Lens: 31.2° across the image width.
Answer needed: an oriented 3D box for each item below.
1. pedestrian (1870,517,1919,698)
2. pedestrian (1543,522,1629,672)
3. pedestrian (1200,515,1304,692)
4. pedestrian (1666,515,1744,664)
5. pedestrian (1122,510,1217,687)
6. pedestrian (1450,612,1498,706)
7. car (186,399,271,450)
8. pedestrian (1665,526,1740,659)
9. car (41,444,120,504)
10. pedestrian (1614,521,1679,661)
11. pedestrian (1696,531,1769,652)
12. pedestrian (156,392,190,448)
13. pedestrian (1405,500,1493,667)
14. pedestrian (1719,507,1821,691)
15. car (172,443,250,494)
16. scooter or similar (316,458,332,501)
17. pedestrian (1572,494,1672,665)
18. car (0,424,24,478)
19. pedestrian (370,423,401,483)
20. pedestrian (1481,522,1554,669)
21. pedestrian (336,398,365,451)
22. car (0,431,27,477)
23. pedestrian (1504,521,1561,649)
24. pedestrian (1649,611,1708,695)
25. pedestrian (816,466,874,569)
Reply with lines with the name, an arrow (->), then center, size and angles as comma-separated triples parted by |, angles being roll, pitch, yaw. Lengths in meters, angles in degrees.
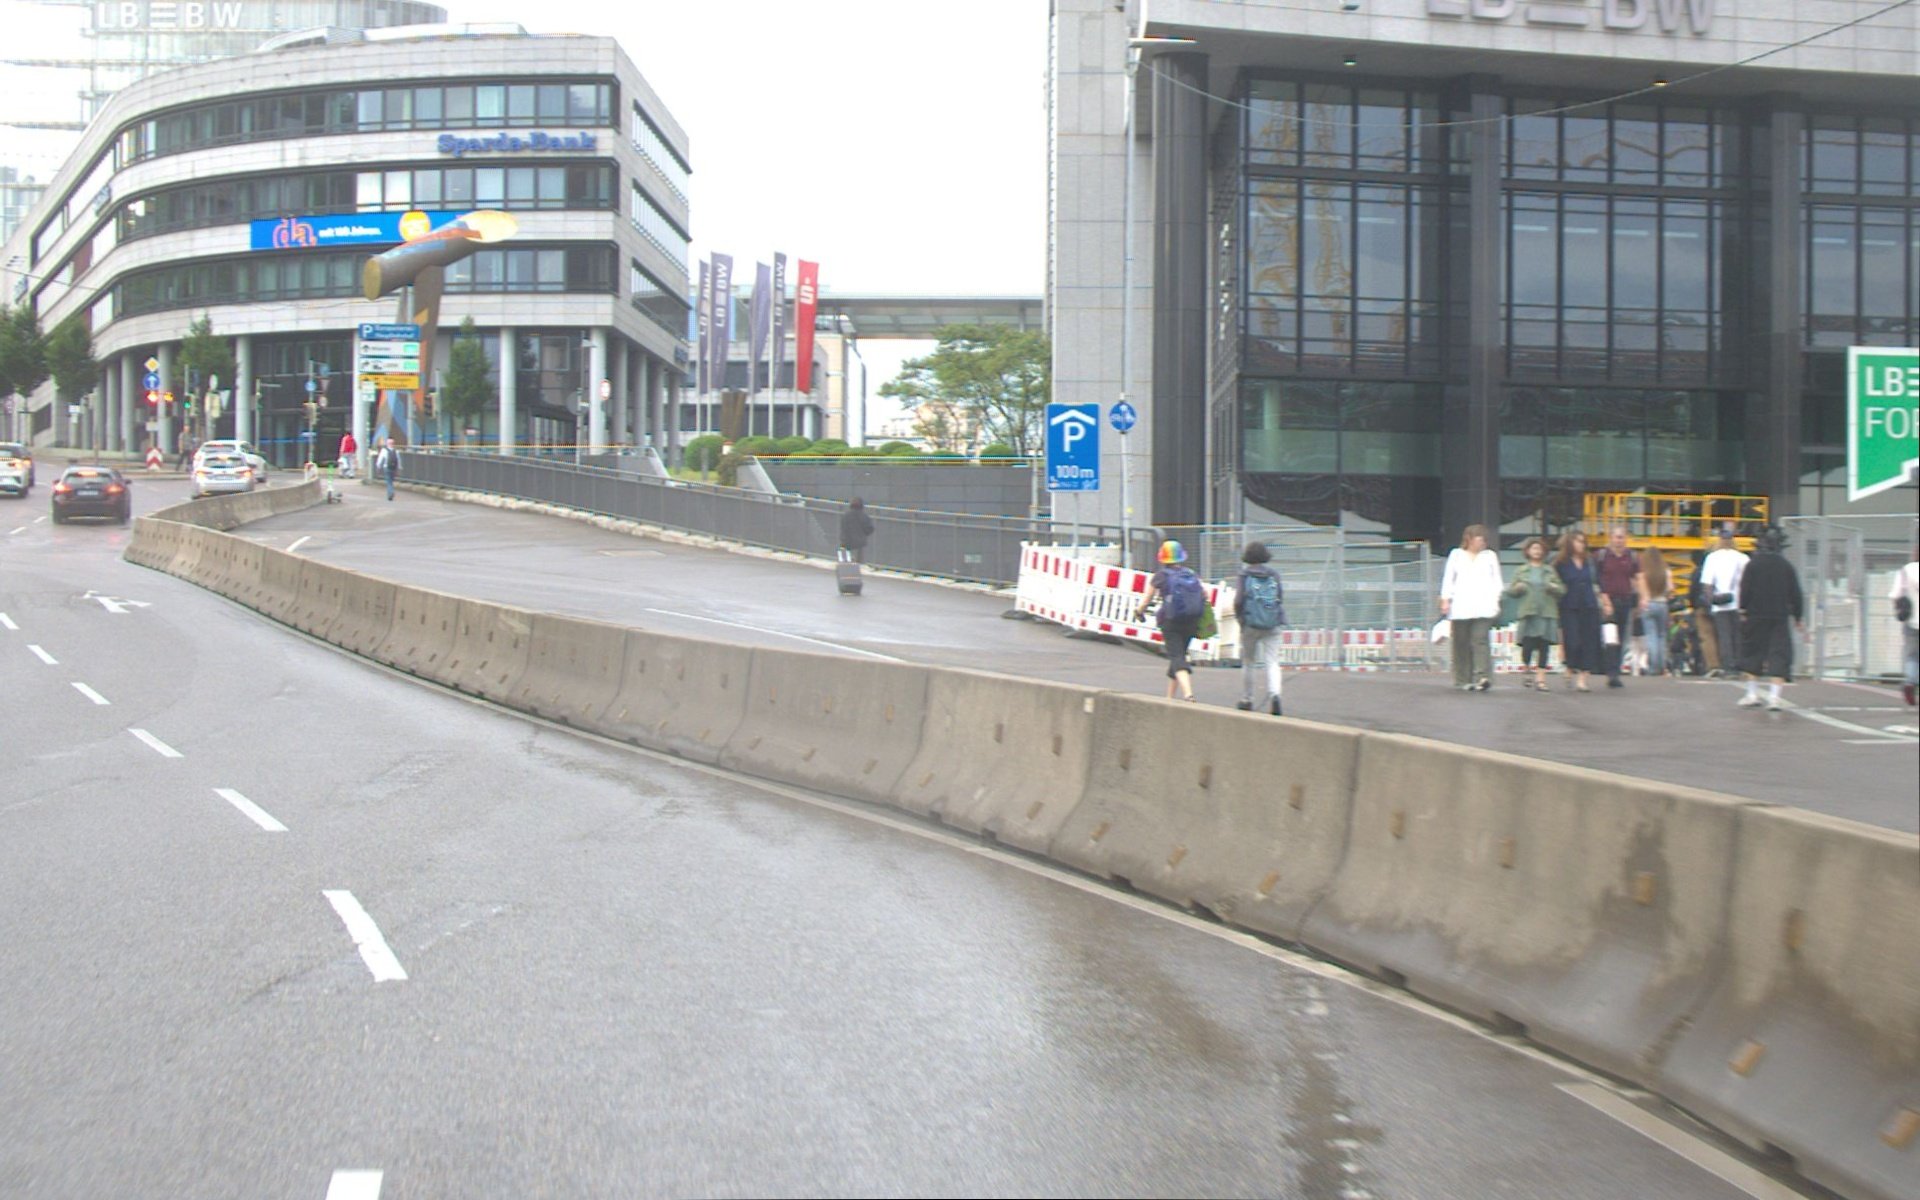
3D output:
pedestrian -> 9.099, 0.071, 32.469 | 0.866, 1.683, 1.008 | 1, 0, 10
pedestrian -> 6.580, -0.033, 36.174 | 0.714, 1.548, 1.008 | 1, 0, 0
pedestrian -> 2.675, 0.027, 31.419 | 0.860, 1.588, 0.952 | 1, 0, 9
pedestrian -> 9.043, -0.129, 41.771 | 0.866, 1.775, 1.008 | 1, 0, 10
pedestrian -> 1.912, -0.018, 31.327 | 0.732, 1.569, 0.804 | 2, 1, 9
pedestrian -> 9.134, 1.044, 61.078 | 0.587, 1.631, 0.751 | 1, 0, 29
car -> -24.509, -5.885, 115.349 | 1.771, 1.628, 4.581 | 1, 3, 1
pedestrian -> 9.327, -0.098, 43.218 | 0.866, 1.631, 1.008 | 1, 0, 10
car -> -22.283, -3.171, 87.007 | 1.754, 1.402, 4.229 | 2, 1, -16
pedestrian -> 8.875, -0.117, 44.461 | 0.771, 1.777, 1.008 | 1, 0, 10
pedestrian -> 10.090, -0.118, 44.937 | 0.866, 1.548, 1.008 | 1, 0, 10
pedestrian -> -30.133, -6.899, 131.676 | 0.852, 2.091, 0.904 | 2, 2, -42
pedestrian -> 5.114, -0.173, 35.977 | 0.777, 1.717, 0.891 | 1, 0, 0
pedestrian -> 7.717, -0.015, 32.800 | 0.866, 1.719, 1.008 | 1, 0, 10
car -> -21.940, -3.839, 100.583 | 1.700, 1.446, 4.617 | 0, 2, -19
scooter or similar -> -17.419, -3.304, 94.189 | 0.349, 1.158, 0.573 | 1, 1, -4
pedestrian -> 7.181, -0.225, 37.340 | 0.866, 1.811, 1.008 | 1, 0, 0
car -> -28.858, -4.465, 102.111 | 1.963, 1.543, 4.220 | 1, 3, -14
pedestrian -> -16.572, -4.234, 99.171 | 0.729, 1.705, 0.843 | 1, 0, -20
pedestrian -> 5.860, -0.047, 36.165 | 0.609, 1.517, 0.885 | 1, 0, 0
pedestrian -> -22.535, -6.488, 127.073 | 0.841, 1.898, 0.861 | 1, 0, 7
car -> -31.344, -4.743, 111.247 | 1.739, 1.438, 4.002 | 0, 3, -22
pedestrian -> 7.450, -0.197, 44.688 | 0.698, 1.631, 0.916 | 1, 0, 10
pedestrian -> 14.286, 1.043, 68.345 | 0.867, 1.631, 1.006 | 1, 0, 30
pedestrian -> -1.874, -1.344, 55.997 | 0.730, 1.646, 1.060 | 1, 1, 9
